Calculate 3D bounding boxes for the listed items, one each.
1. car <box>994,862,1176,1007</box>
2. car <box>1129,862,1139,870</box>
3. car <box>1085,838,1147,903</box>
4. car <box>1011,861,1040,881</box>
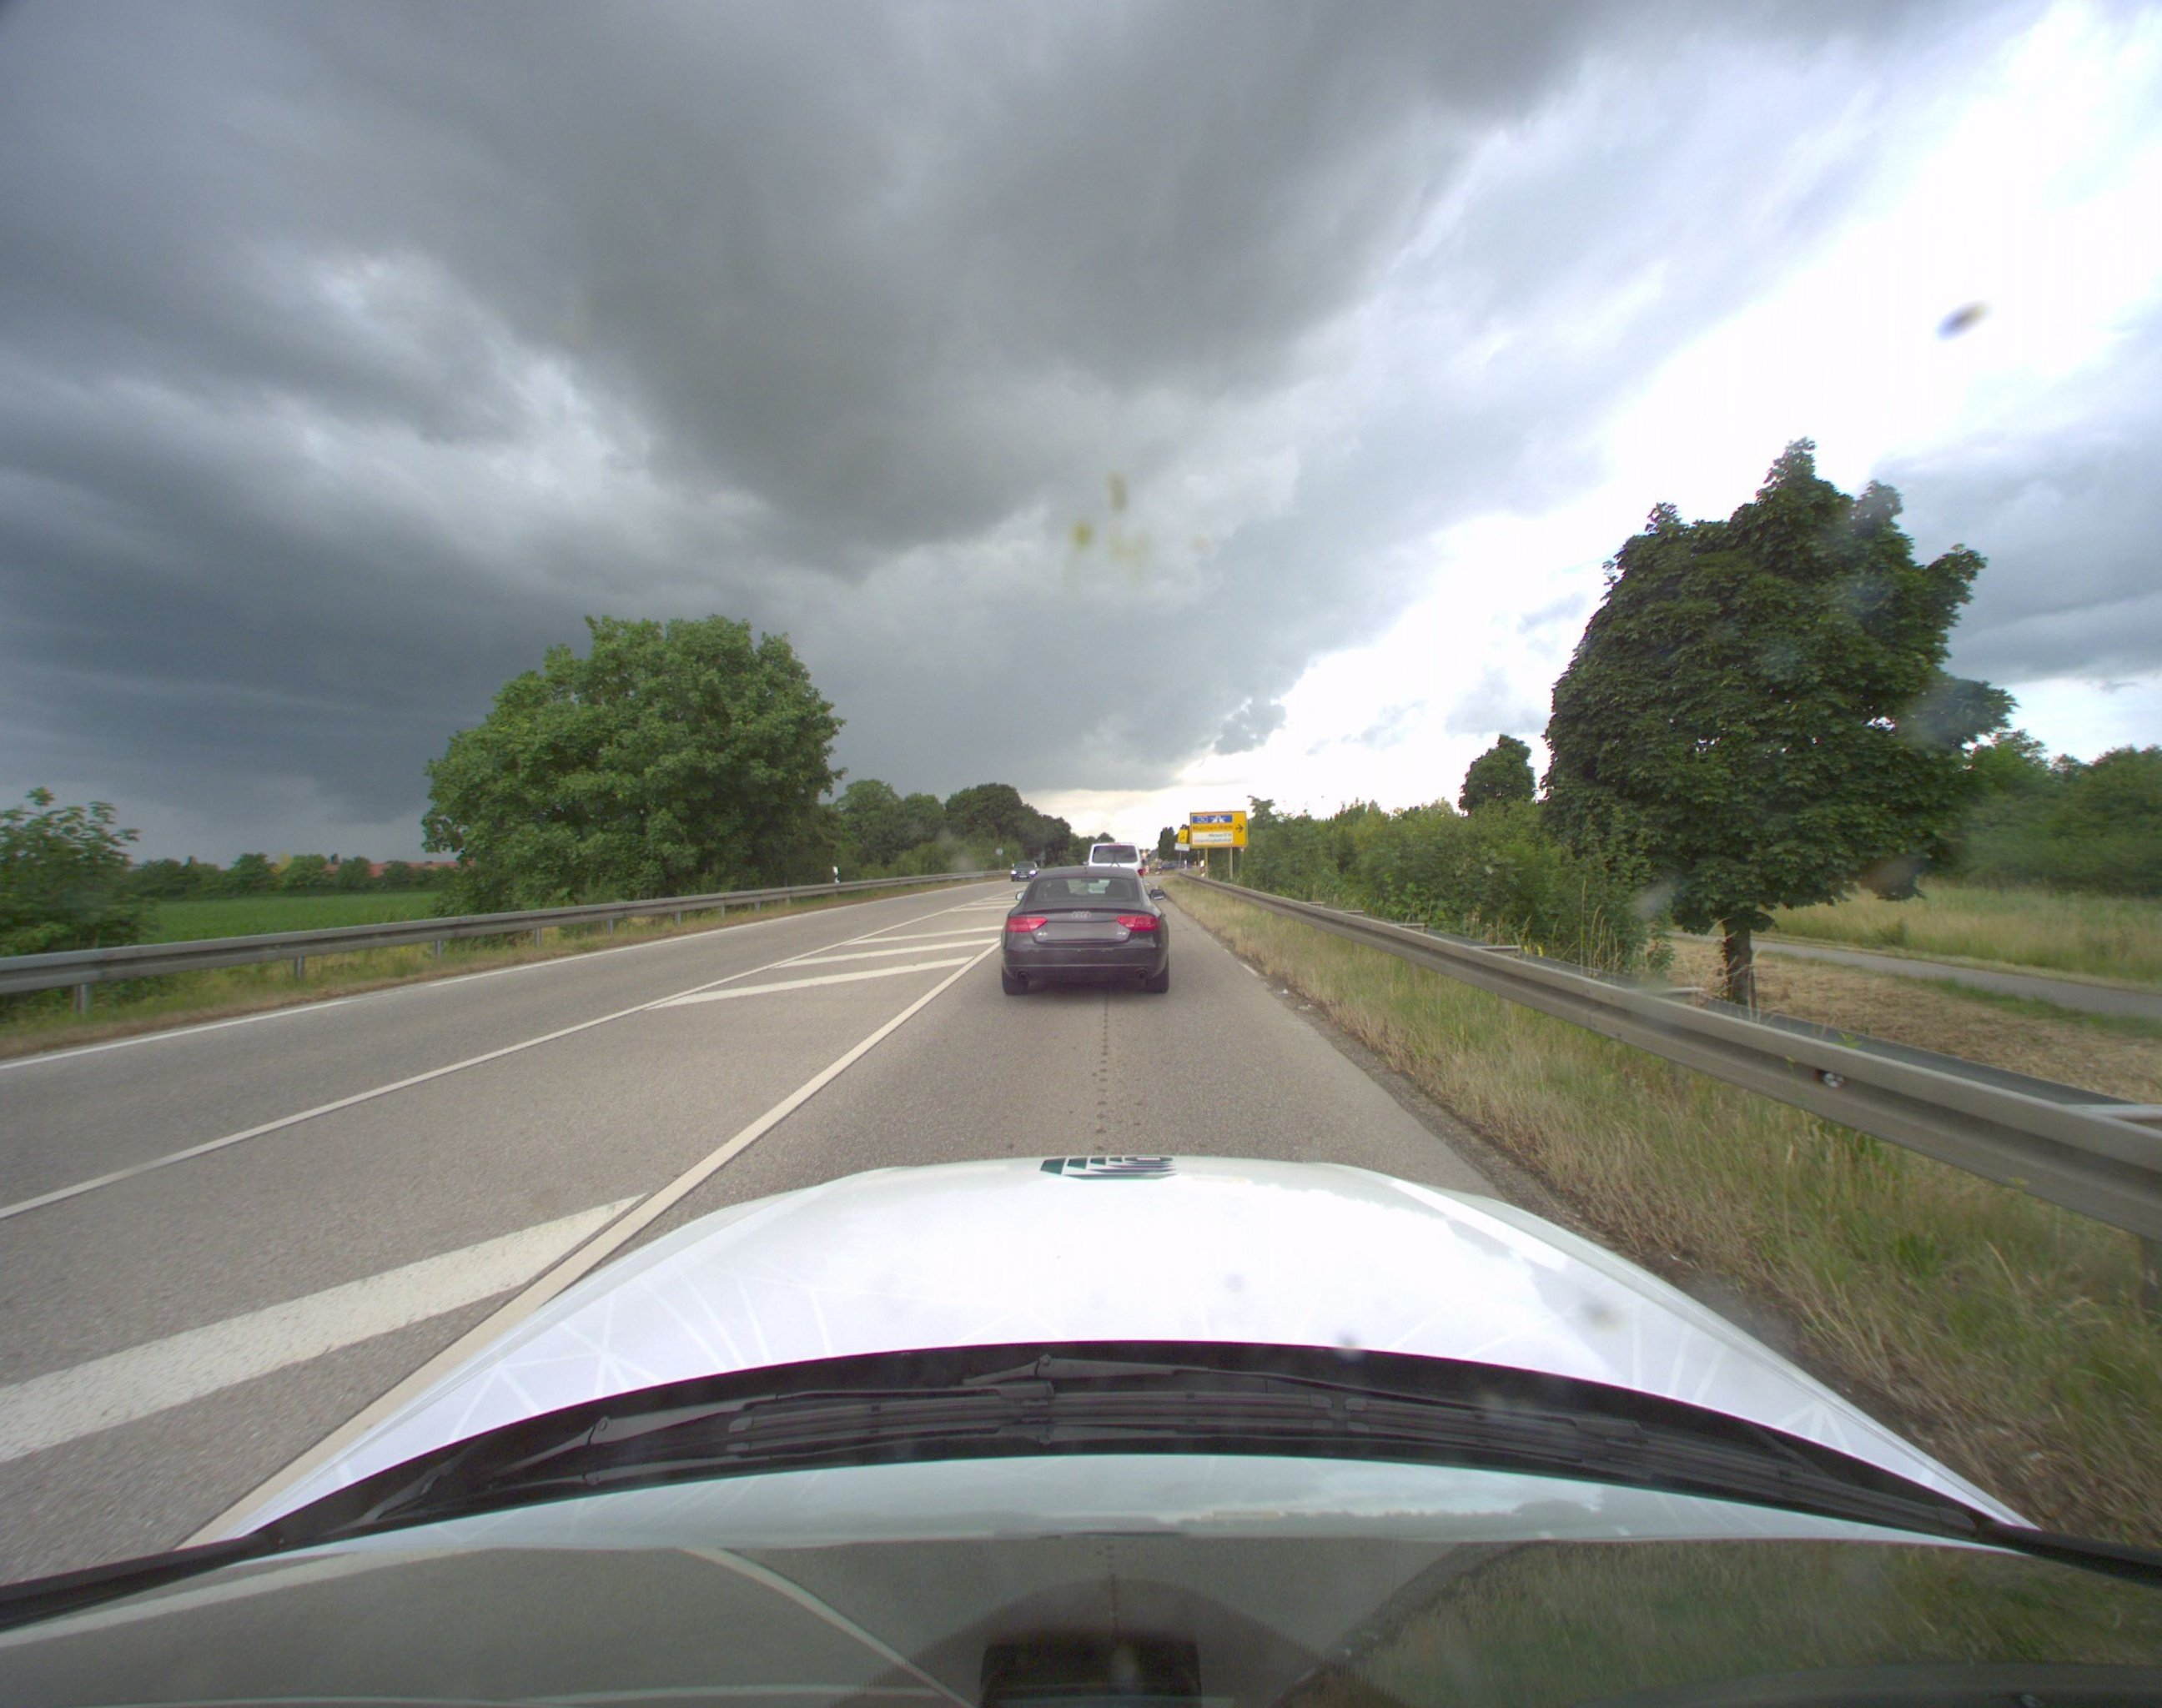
[{"bbox_3d":[0.089,0.807,9.671,1.773,1.399,3.337,-1,-1,2],"label":"car"},{"bbox_3d":[12.061,2.745,185.589,2.197,1.582,4.381,0,0,2],"label":"car"},{"bbox_3d":[1.157,0.524,27.235,1.903,2.014,4.002,0,0,2],"label":"car"},{"bbox_3d":[-4.051,1.208,59.566,1.616,1.379,4.514,-1,0,2],"label":"car"}]
